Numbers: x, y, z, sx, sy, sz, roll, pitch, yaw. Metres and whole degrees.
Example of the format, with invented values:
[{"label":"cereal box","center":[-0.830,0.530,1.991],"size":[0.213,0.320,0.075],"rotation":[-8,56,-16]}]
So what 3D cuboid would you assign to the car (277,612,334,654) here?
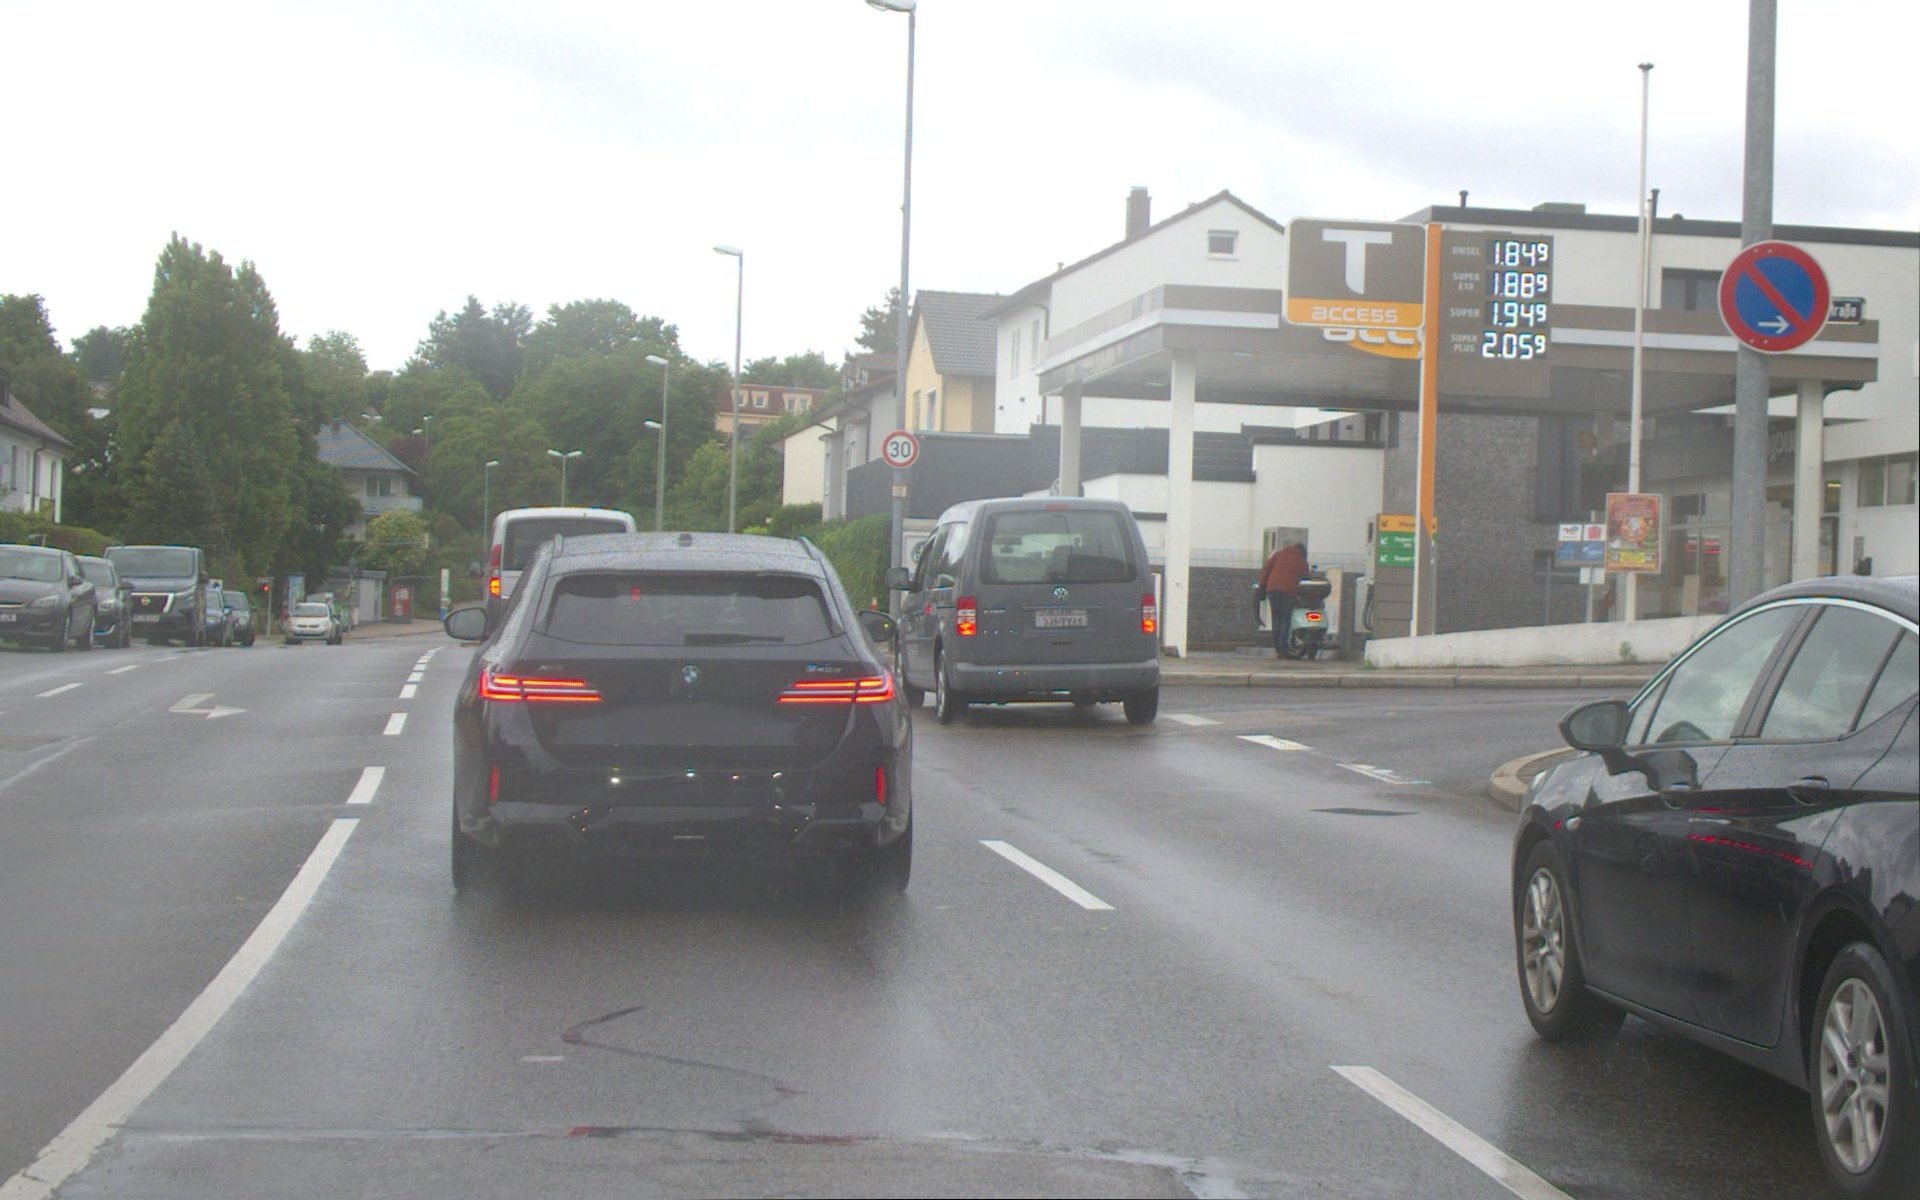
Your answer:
[{"label":"car","center":[-25.481,1.303,133.940],"size":[1.884,1.580,4.001],"rotation":[2,-1,-7]}]

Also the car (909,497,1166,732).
[{"label":"car","center":[0.573,0.144,28.478],"size":[1.838,1.761,4.000],"rotation":[1,-1,-2]}]

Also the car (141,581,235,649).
[{"label":"car","center":[-18.303,0.372,81.635],"size":[1.757,1.527,4.287],"rotation":[2,-1,-8]}]

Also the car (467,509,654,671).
[{"label":"car","center":[-4.610,-0.083,39.768],"size":[1.993,1.732,4.000],"rotation":[1,-1,-6]}]

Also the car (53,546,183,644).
[{"label":"car","center":[-13.797,-0.051,56.504],"size":[1.749,1.512,4.528],"rotation":[2,-1,-10]}]

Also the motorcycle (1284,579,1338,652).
[{"label":"motorcycle","center":[5.180,0.230,50.752],"size":[0.462,1.052,1.391],"rotation":[2,-1,-8]}]

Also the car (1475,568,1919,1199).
[{"label":"car","center":[2.737,0.677,9.013],"size":[1.756,1.444,4.001],"rotation":[1,1,-6]}]

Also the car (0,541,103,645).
[{"label":"car","center":[-13.589,-0.081,49.822],"size":[1.750,1.435,4.130],"rotation":[1,-1,-7]}]

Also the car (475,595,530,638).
[{"label":"car","center":[-19.288,0.704,145.043],"size":[1.993,1.735,4.000],"rotation":[1,-1,-4]}]

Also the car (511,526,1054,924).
[{"label":"car","center":[-0.925,0.512,15.139],"size":[1.993,1.479,4.001],"rotation":[2,-1,-8]}]

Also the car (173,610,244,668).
[{"label":"car","center":[-19.145,1.000,87.687],"size":[1.550,1.426,4.015],"rotation":[2,-1,-10]}]

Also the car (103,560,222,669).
[{"label":"car","center":[-15.408,0.302,66.613],"size":[1.912,1.996,5.089],"rotation":[2,-1,-10]}]

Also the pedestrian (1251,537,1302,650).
[{"label":"pedestrian","center":[4.695,-0.086,50.997],"size":[0.609,1.650,0.586],"rotation":[2,-1,-8]}]
